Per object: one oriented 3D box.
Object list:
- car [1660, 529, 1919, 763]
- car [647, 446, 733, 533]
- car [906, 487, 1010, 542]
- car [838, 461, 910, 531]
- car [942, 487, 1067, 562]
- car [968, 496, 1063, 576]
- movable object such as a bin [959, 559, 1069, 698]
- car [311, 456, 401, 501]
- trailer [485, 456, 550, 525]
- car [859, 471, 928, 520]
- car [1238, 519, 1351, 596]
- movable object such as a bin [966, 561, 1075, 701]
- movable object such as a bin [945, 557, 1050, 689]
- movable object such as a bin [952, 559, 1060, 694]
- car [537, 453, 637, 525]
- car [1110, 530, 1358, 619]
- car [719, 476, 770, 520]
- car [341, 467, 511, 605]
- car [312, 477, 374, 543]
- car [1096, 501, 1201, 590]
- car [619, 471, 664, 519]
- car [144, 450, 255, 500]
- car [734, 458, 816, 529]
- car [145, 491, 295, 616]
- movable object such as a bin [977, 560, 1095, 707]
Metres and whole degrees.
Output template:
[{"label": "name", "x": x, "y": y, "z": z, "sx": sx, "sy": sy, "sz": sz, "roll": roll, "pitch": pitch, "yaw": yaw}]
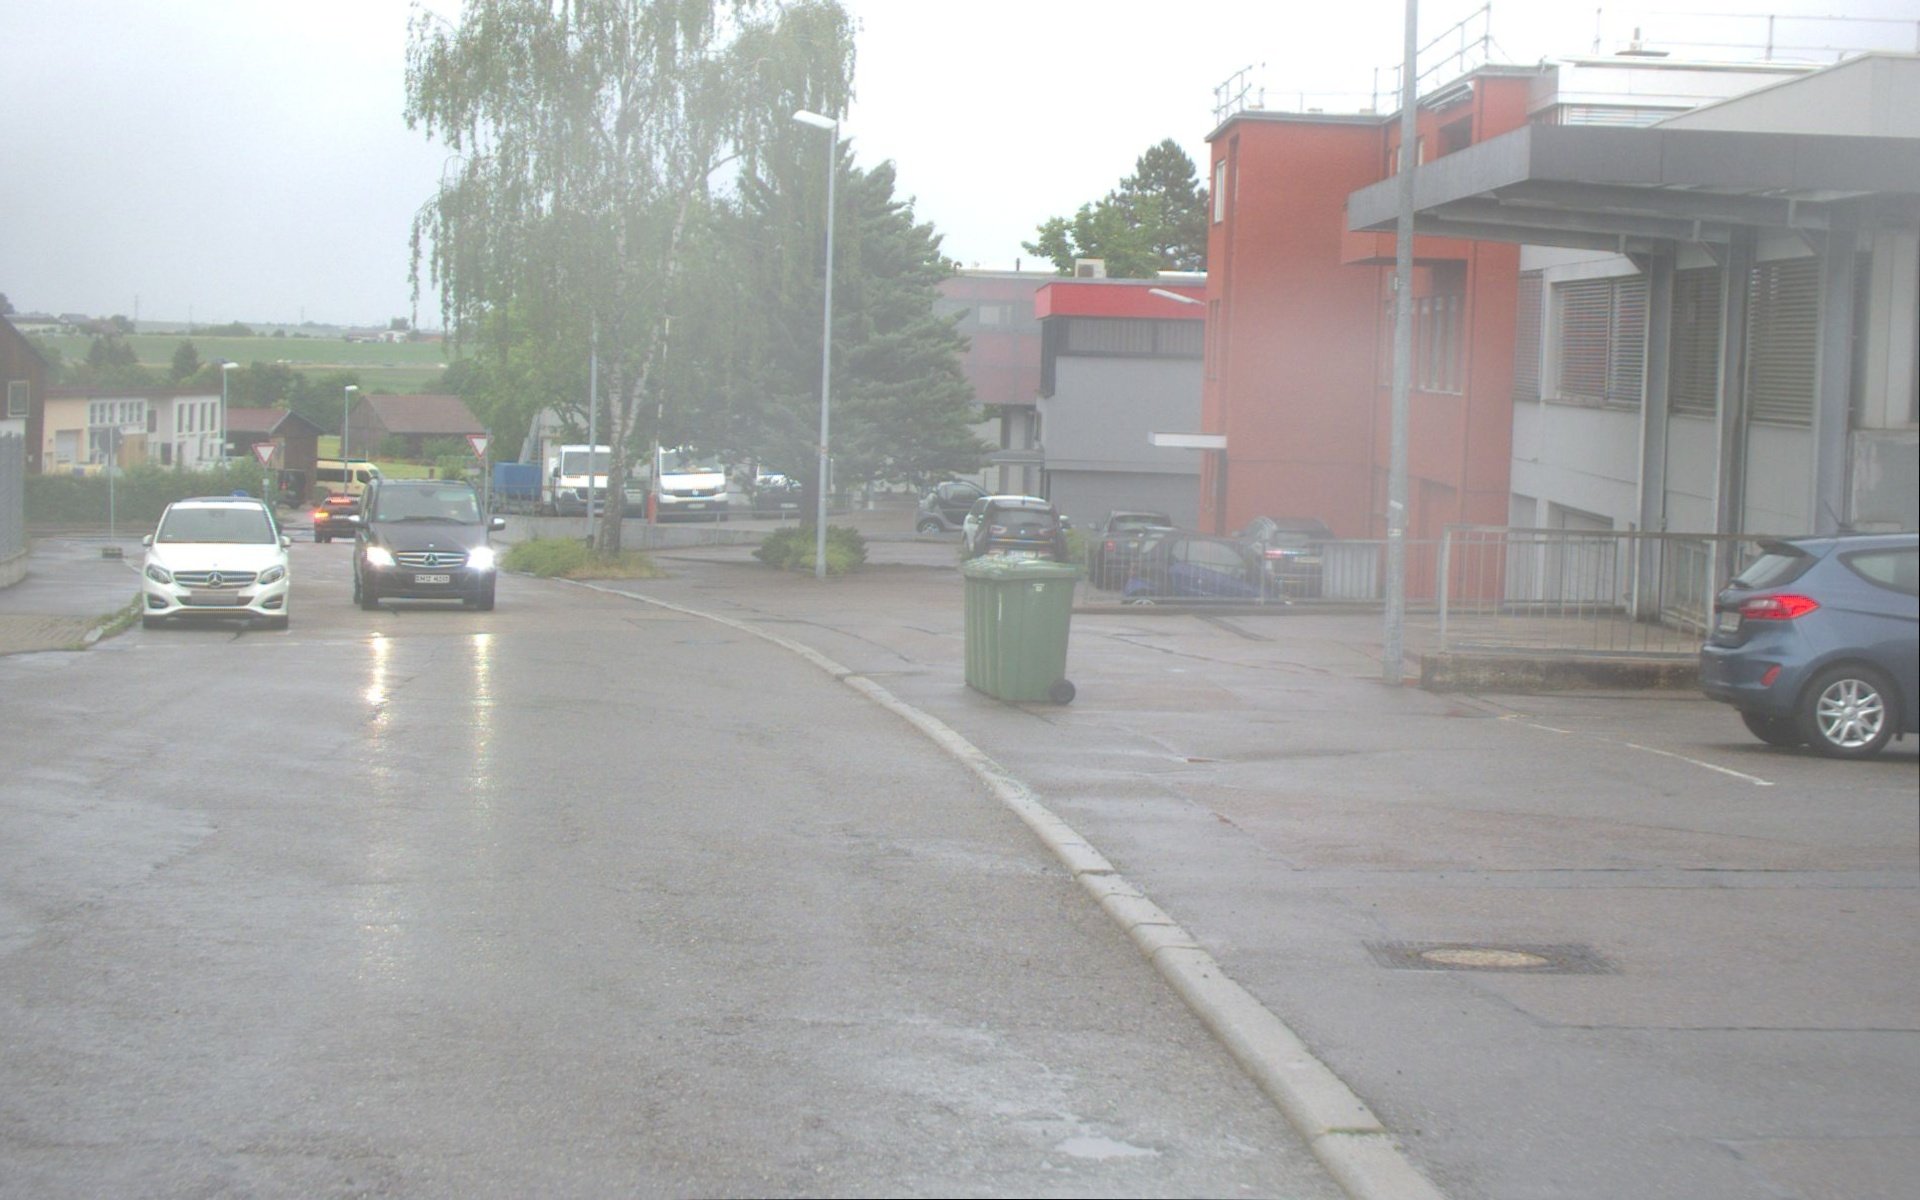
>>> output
[{"label": "car", "x": 6.667, "y": 0.342, "z": 22.072, "sx": 3.894, "sy": 1.379, "sz": 1.821, "roll": 3, "pitch": 0, "yaw": -1}, {"label": "car", "x": -7.998, "y": -3.234, "z": 101.611, "sx": 2.192, "sy": 2.451, "sz": 4.001, "roll": 1, "pitch": 0, "yaw": -9}, {"label": "car", "x": -0.068, "y": -2.207, "z": 88.857, "sx": 2.547, "sy": 1.347, "sz": 1.242, "roll": 1, "pitch": 1, "yaw": -6}, {"label": "car", "x": -2.602, "y": -3.097, "z": 102.992, "sx": 1.780, "sy": 2.007, "sz": 3.633, "roll": 1, "pitch": 0, "yaw": -7}, {"label": "car", "x": 0.930, "y": -1.610, "z": 74.236, "sx": 2.064, "sy": 1.547, "sz": 4.001, "roll": 1, "pitch": 0, "yaw": -8}, {"label": "car", "x": 1.046, "y": -1.224, "z": 66.764, "sx": 1.697, "sy": 1.470, "sz": 4.000, "roll": 1, "pitch": 0, "yaw": -1}, {"label": "movable object such as a bin", "x": 0.428, "y": 0.222, "z": 27.559, "sx": 0.809, "sy": 1.087, "sz": 0.542, "roll": 1, "pitch": 1, "yaw": -6}, {"label": "car", "x": -31.657, "y": -6.383, "z": 180.367, "sx": 4.241, "sy": 2.218, "sz": 2.000, "roll": 1, "pitch": 0, "yaw": 6}, {"label": "trailer", "x": -13.546, "y": -3.347, "z": 105.139, "sx": 1.852, "sy": 2.007, "sz": 4.001, "roll": 1, "pitch": 1, "yaw": -8}, {"label": "car", "x": -2.126, "y": -3.304, "z": 108.858, "sx": 1.636, "sy": 1.448, "sz": 3.512, "roll": 1, "pitch": 0, "yaw": -10}, {"label": "car", "x": 6.447, "y": -0.818, "z": 66.624, "sx": 1.729, "sy": 1.417, "sz": 4.000, "roll": 1, "pitch": 0, "yaw": -1}, {"label": "movable object such as a bin", "x": 0.471, "y": 0.238, "z": 26.985, "sx": 0.775, "sy": 1.072, "sz": 0.584, "roll": 1, "pitch": 1, "yaw": -6}, {"label": "movable object such as a bin", "x": 0.310, "y": 0.187, "z": 28.720, "sx": 0.801, "sy": 1.075, "sz": 0.625, "roll": 1, "pitch": 1, "yaw": -6}, {"label": "movable object such as a bin", "x": 0.372, "y": 0.212, "z": 28.117, "sx": 0.808, "sy": 1.073, "sz": 0.582, "roll": 1, "pitch": 1, "yaw": -6}, {"label": "car", "x": -11.001, "y": -3.235, "z": 101.153, "sx": 2.264, "sy": 2.007, "sz": 4.001, "roll": 1, "pitch": 0, "yaw": -16}, {"label": "car", "x": 3.871, "y": -0.373, "z": 48.959, "sx": 3.400, "sy": 1.159, "sz": 1.792, "roll": 1, "pitch": 1, "yaw": 1}, {"label": "car", "x": -6.796, "y": -3.198, "z": 108.218, "sx": 1.398, "sy": 1.321, "sz": 2.702, "roll": 1, "pitch": 0, "yaw": -7}, {"label": "car", "x": -7.877, "y": -0.965, "z": 50.388, "sx": 1.884, "sy": 1.880, "sz": 5.074, "roll": 1, "pitch": 1, "yaw": -15}, {"label": "car", "x": -19.717, "y": -2.853, "z": 110.047, "sx": 1.869, "sy": 2.022, "sz": 4.001, "roll": 1, "pitch": 0, "yaw": -9}, {"label": "car", "x": 3.666, "y": -1.051, "z": 67.352, "sx": 1.739, "sy": 1.648, "sz": 4.000, "roll": 1, "pitch": 0, "yaw": -1}, {"label": "car", "x": -9.933, "y": -3.278, "z": 107.193, "sx": 1.290, "sy": 1.419, "sz": 2.547, "roll": 1, "pitch": 0, "yaw": -7}, {"label": "car", "x": -30.672, "y": -5.046, "z": 138.745, "sx": 3.987, "sy": 1.875, "sz": 2.000, "roll": 1, "pitch": 1, "yaw": 0}, {"label": "car", "x": -5.551, "y": -3.147, "z": 102.591, "sx": 2.145, "sy": 2.007, "sz": 3.940, "roll": 1, "pitch": 0, "yaw": -7}, {"label": "car", "x": -9.379, "y": -0.584, "z": 43.573, "sx": 1.769, "sy": 1.507, "sz": 4.146, "roll": 0, "pitch": 1, "yaw": -12}, {"label": "movable object such as a bin", "x": 0.578, "y": 0.250, "z": 26.338, "sx": 0.806, "sy": 1.089, "sz": 0.709, "roll": 1, "pitch": 1, "yaw": -6}]
